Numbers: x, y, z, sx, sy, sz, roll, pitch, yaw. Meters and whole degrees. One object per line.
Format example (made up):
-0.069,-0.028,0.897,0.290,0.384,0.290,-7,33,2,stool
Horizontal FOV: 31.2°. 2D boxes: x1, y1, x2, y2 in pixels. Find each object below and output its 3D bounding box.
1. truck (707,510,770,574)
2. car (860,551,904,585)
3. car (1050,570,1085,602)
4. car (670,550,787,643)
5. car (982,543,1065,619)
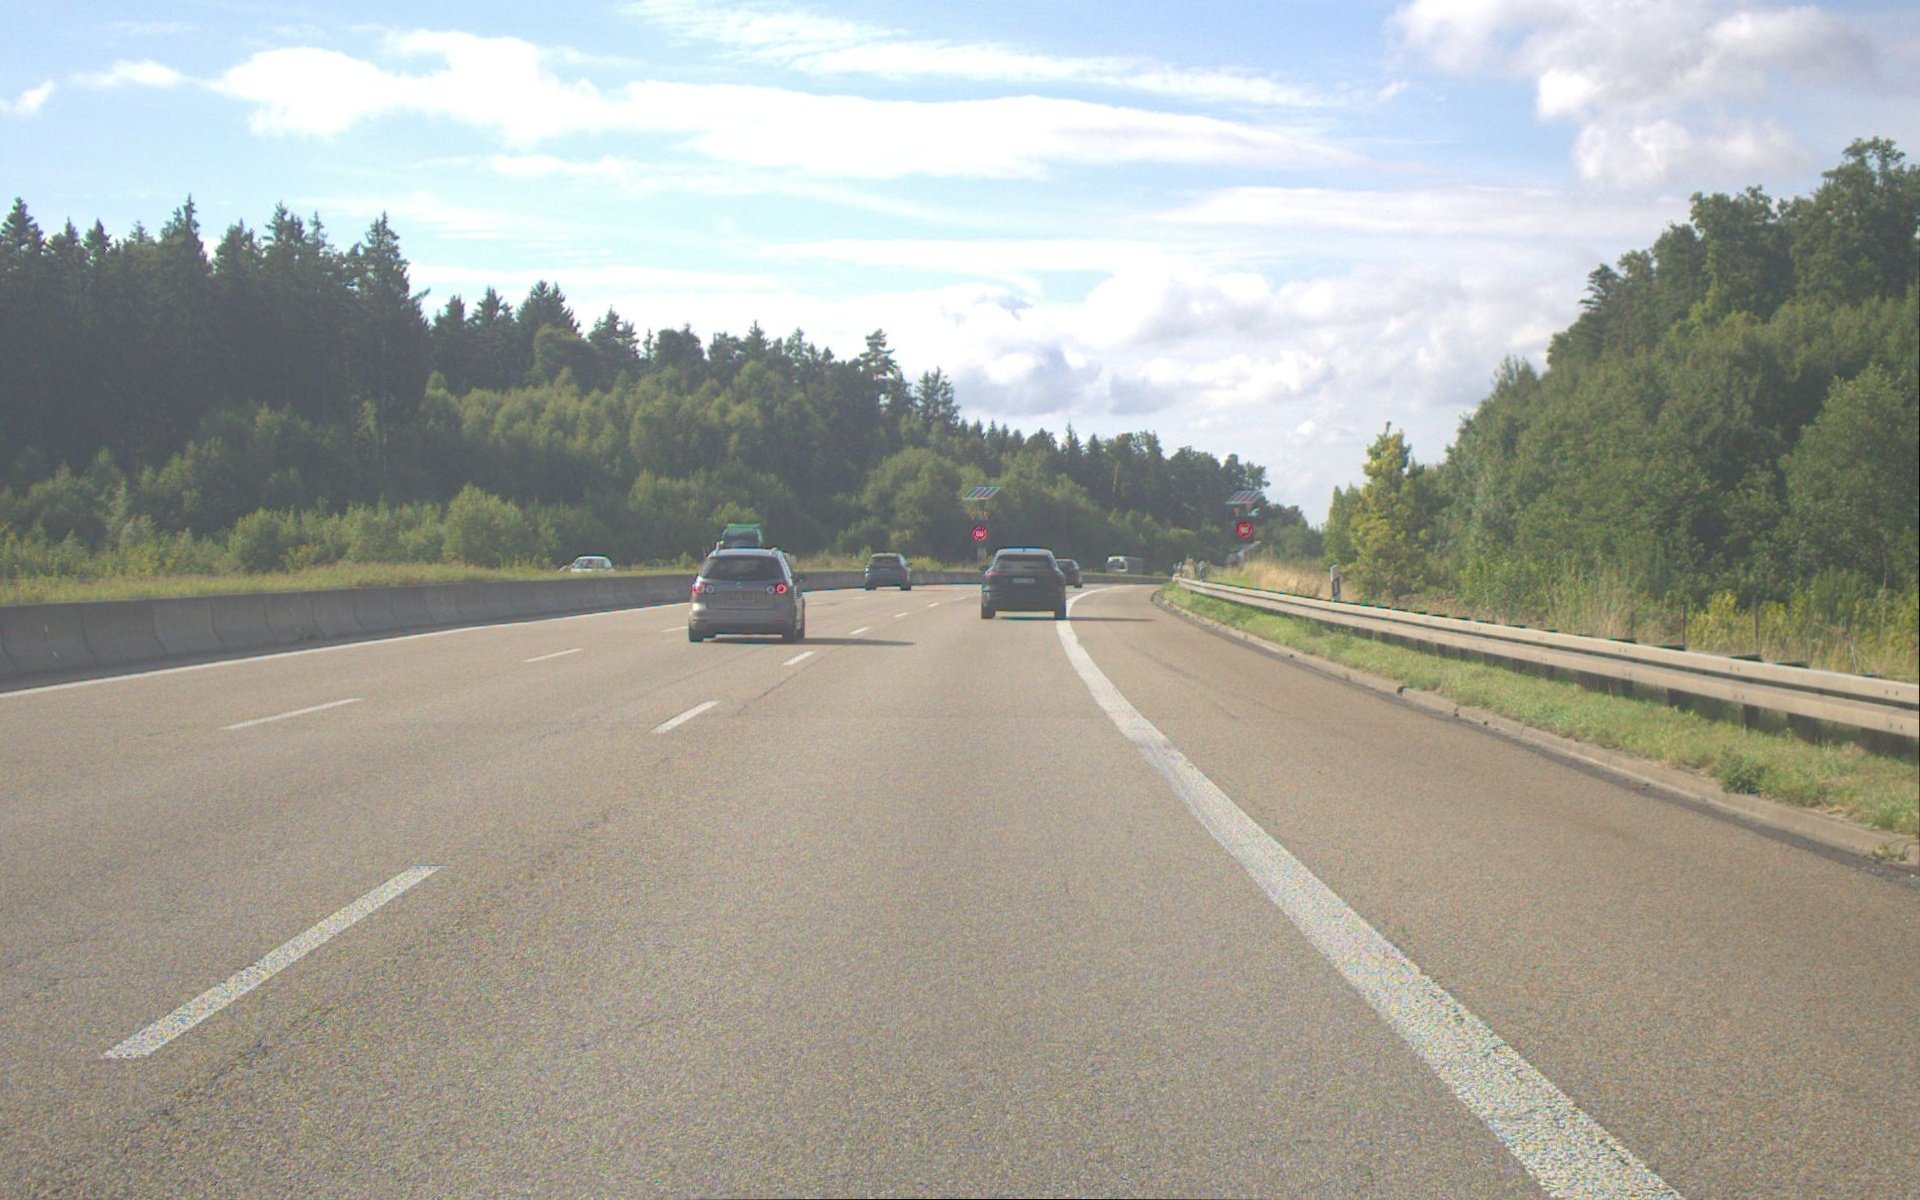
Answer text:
-14.110,-3.657,219.339,3.376,3.995,5.863,1,1,3,truck
-3.497,-1.459,154.412,1.873,1.492,3.880,0,1,0,car
5.763,-0.758,183.355,1.812,1.700,4.000,0,1,2,car
-3.864,-0.086,57.826,1.873,1.492,3.880,0,1,-3,car
1.451,-0.460,79.458,1.873,1.669,3.890,0,1,1,car
